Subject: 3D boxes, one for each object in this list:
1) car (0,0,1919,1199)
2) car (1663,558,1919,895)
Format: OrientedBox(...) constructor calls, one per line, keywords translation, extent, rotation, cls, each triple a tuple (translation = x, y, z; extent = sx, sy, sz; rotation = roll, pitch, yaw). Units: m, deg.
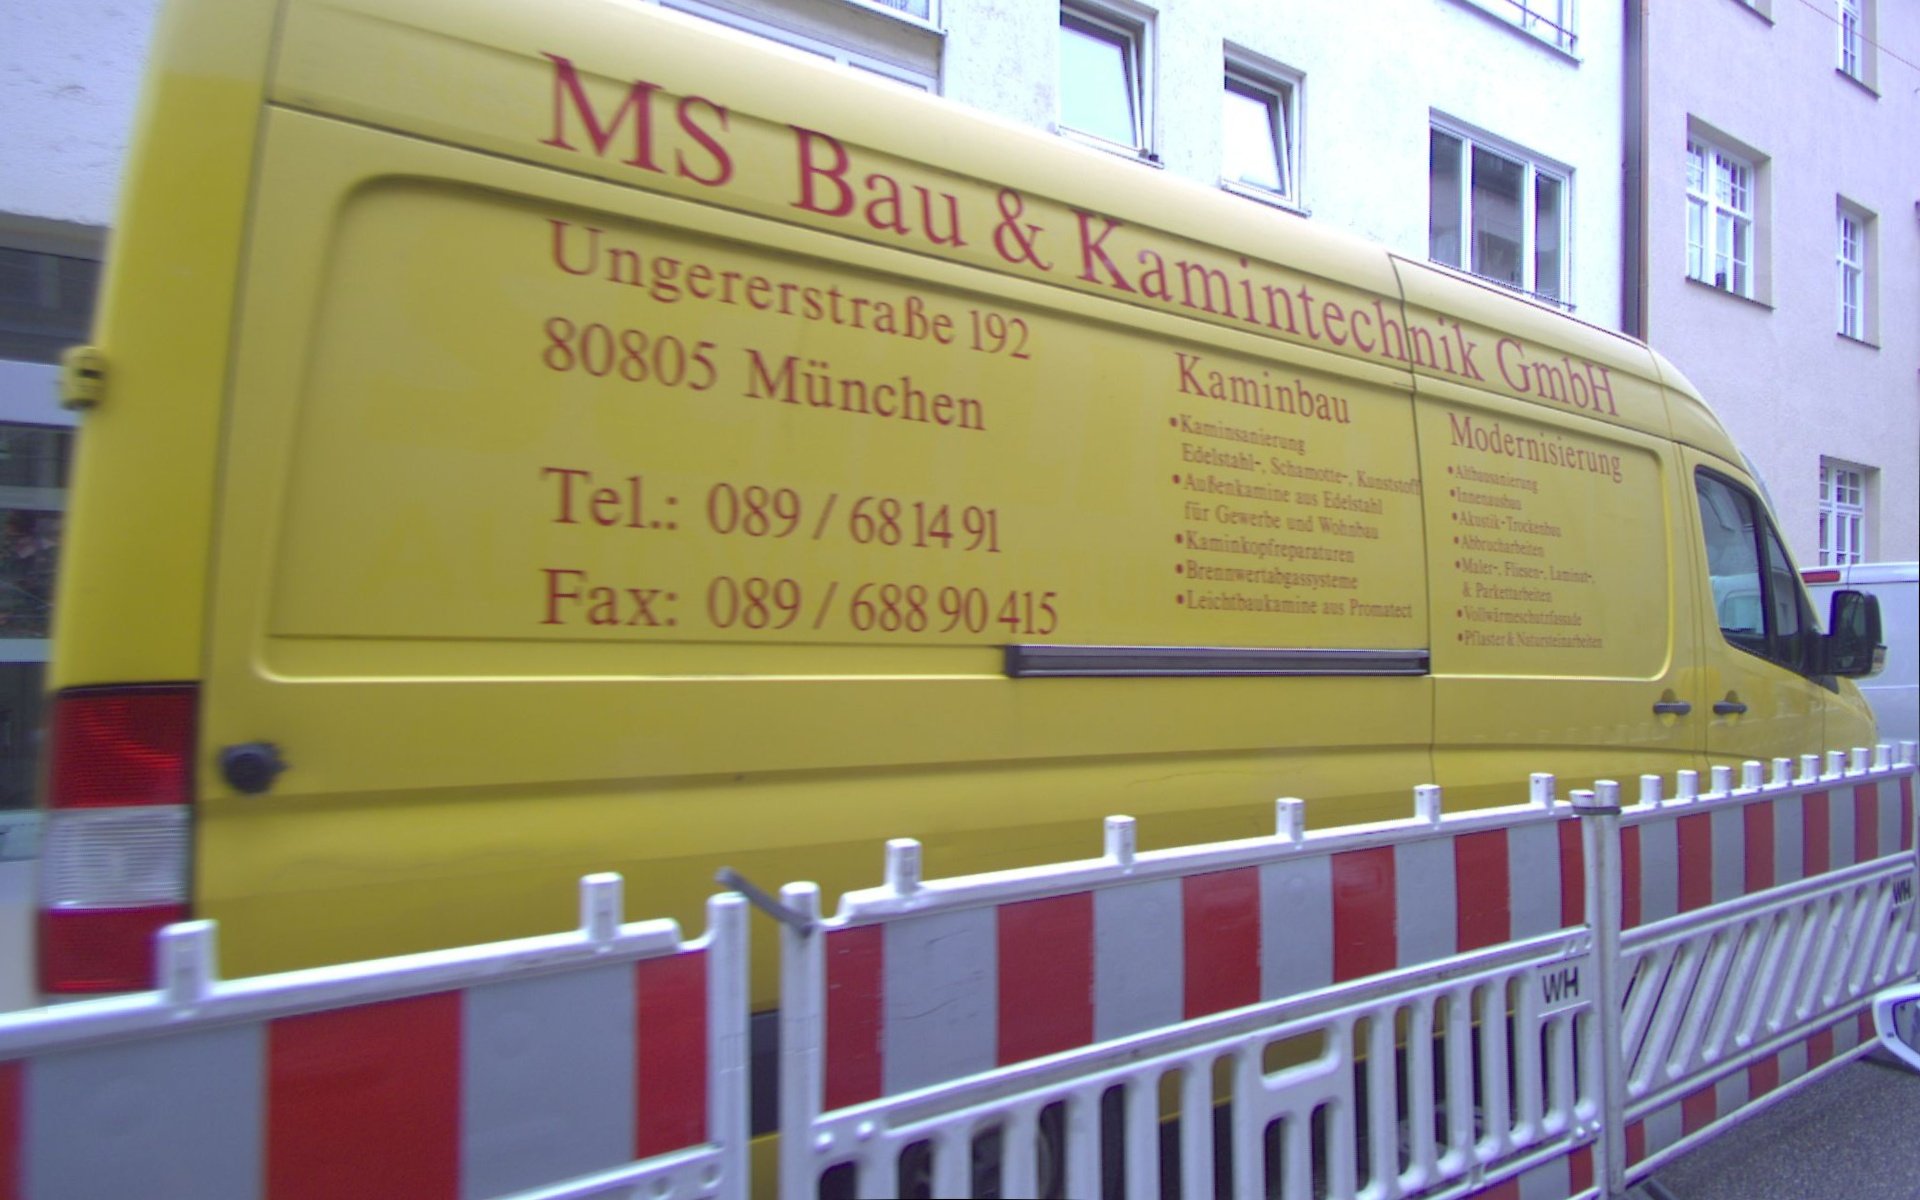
OrientedBox(translation=(0.945, 0.252, 3.640), extent=(6.659, 2.612, 1.984), rotation=(1, -2, -31), cls="car")
OrientedBox(translation=(7.325, 0.796, 7.266), extent=(4.736, 1.922, 1.908), rotation=(2, -3, -31), cls="car")
